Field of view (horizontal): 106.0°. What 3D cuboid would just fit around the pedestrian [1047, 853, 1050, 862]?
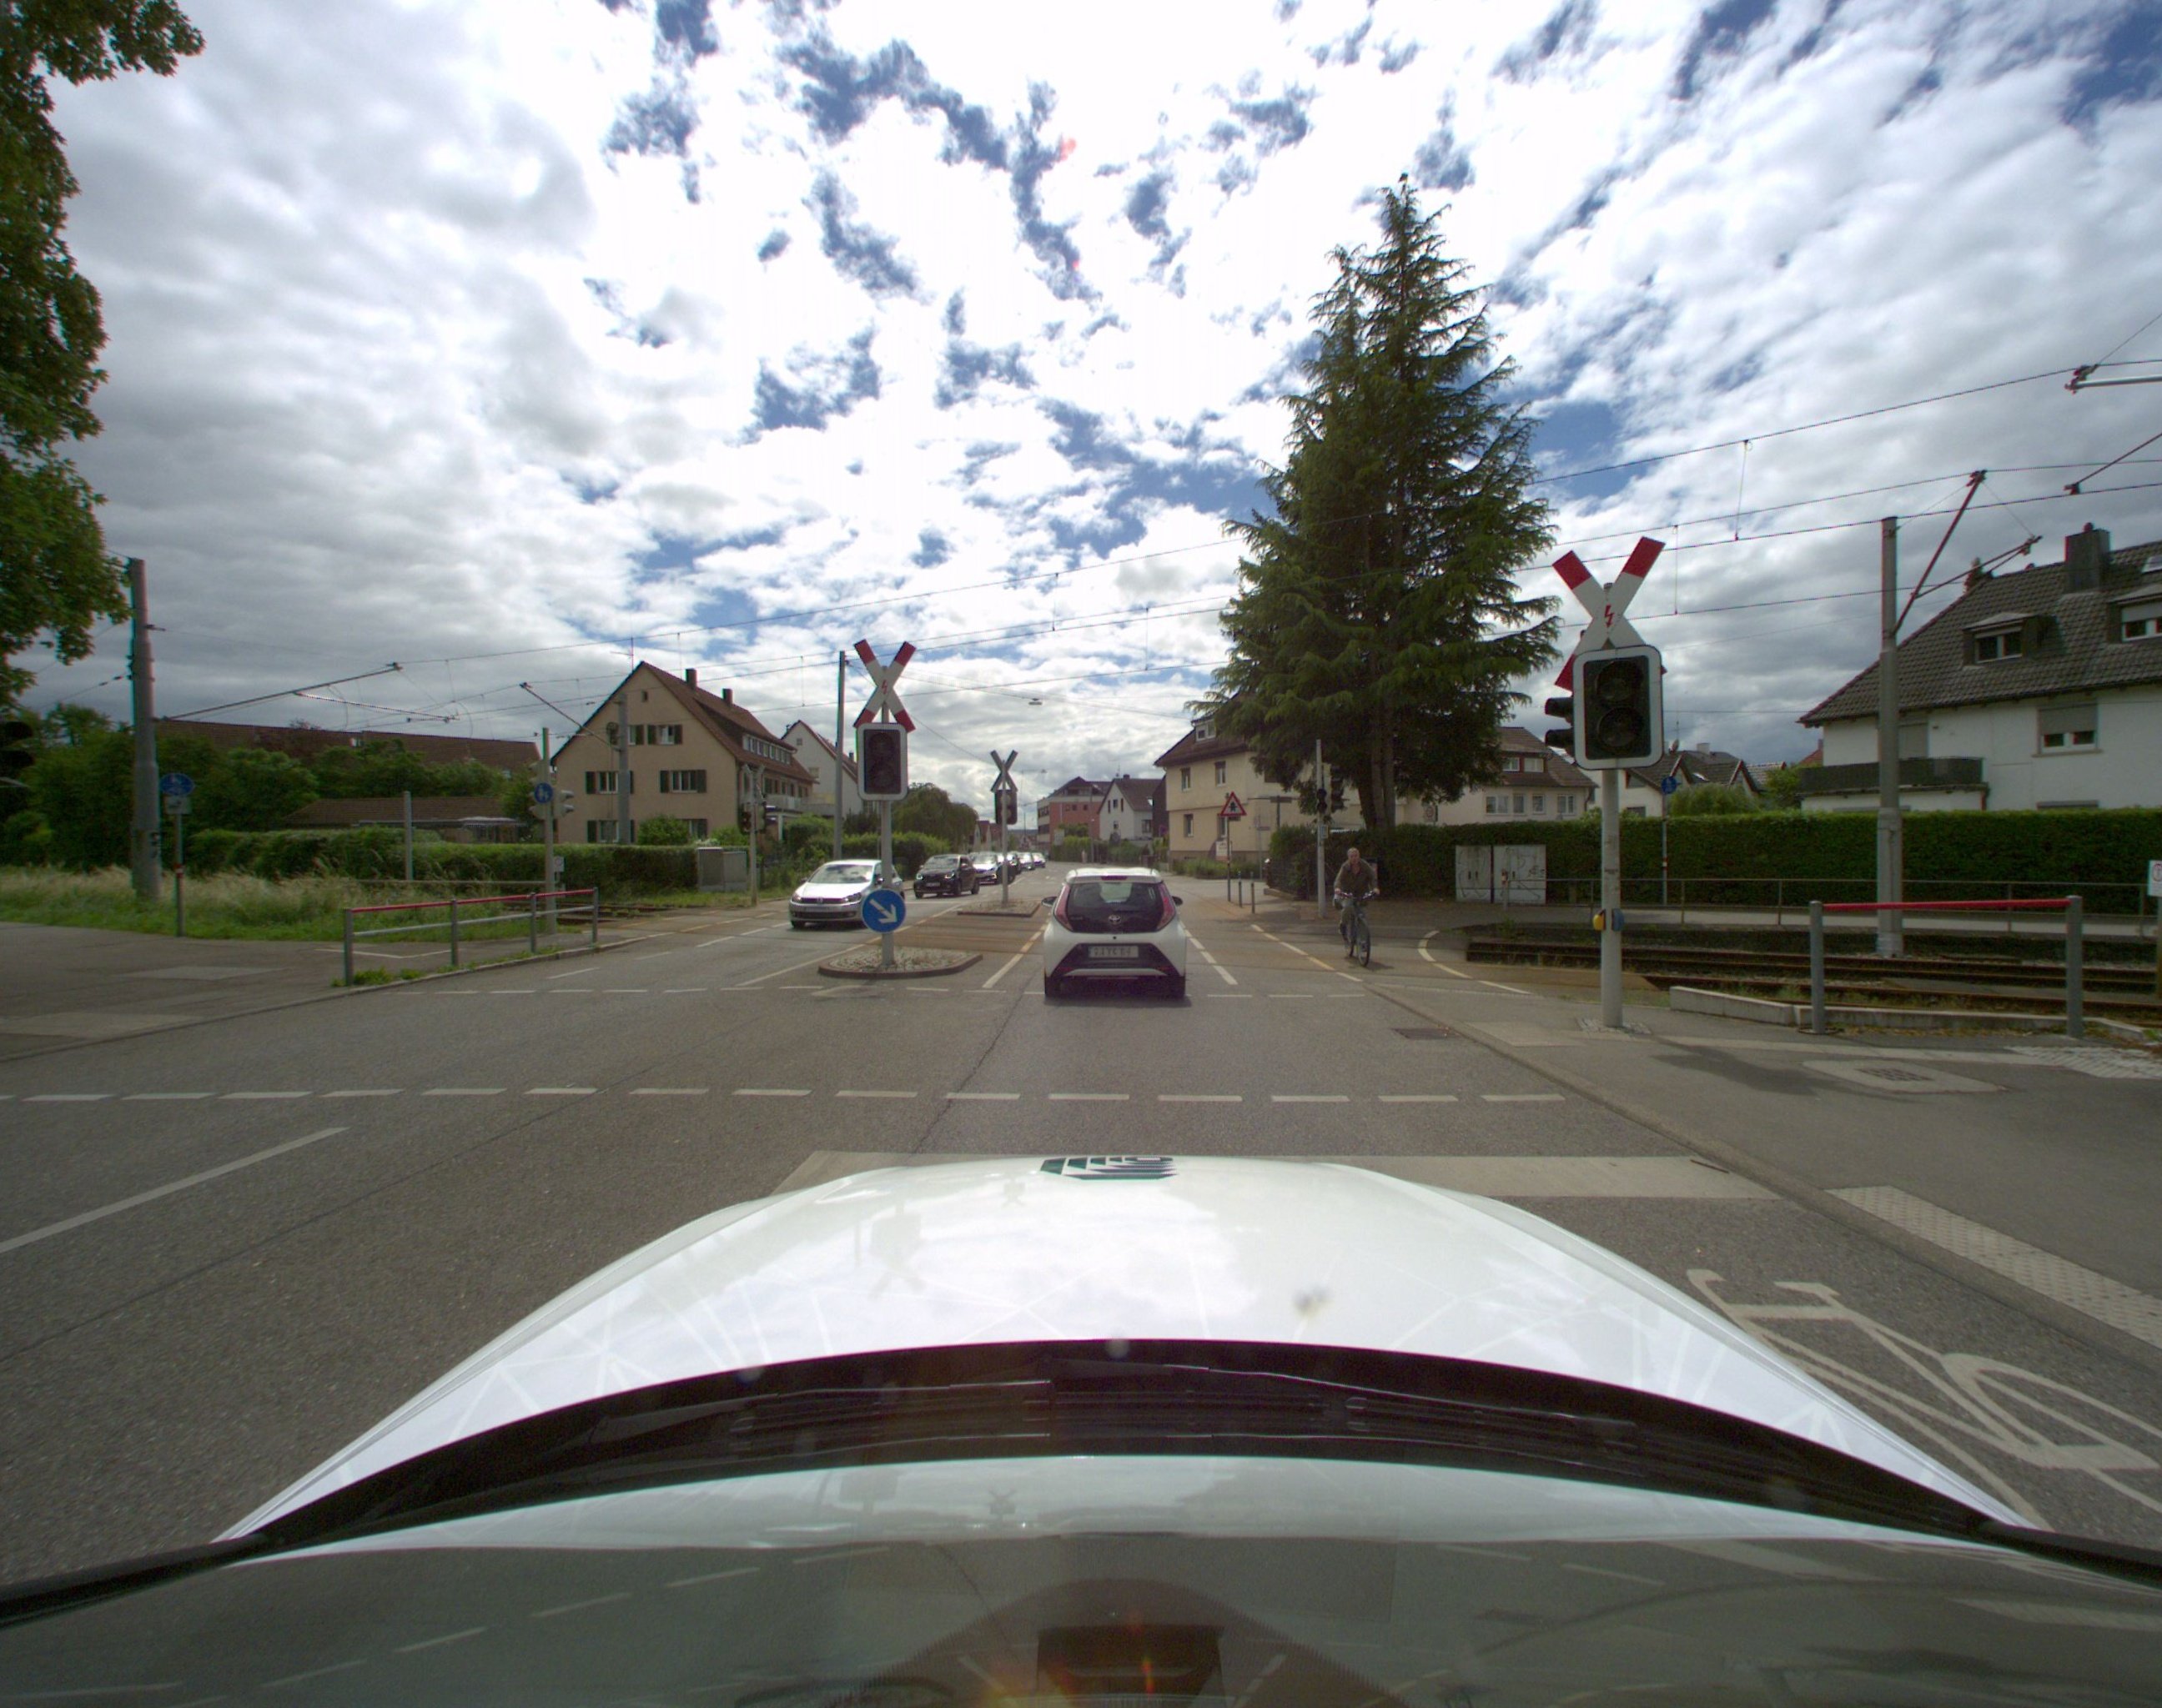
[{"bbox_3d":[-5.125,0.523,127.362,0.413,1.437,0.436,0,0,-8],"label":"pedestrian"}]

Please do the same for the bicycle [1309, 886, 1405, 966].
[{"bbox_3d":[4.140,1.049,12.397,0.928,1.040,1.917,0,0,4],"label":"bicycle"}]

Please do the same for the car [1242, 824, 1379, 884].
[{"bbox_3d":[10.617,-0.041,37.660,6.010,2.581,1.989,-1,1,-17],"label":"car"}]

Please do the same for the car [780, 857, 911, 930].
[{"bbox_3d":[-5.353,0.836,19.073,1.681,1.458,4.072,0,0,3],"label":"car"}]

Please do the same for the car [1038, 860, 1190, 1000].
[{"bbox_3d":[0.426,0.822,10.689,1.615,1.486,4.002,0,-1,2],"label":"car"}]

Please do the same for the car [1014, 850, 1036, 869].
[{"bbox_3d":[-4.838,0.474,69.622,1.772,1.561,4.162,0,0,-5],"label":"car"}]

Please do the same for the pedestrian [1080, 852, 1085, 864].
[{"bbox_3d":[0.162,0.428,97.569,0.439,1.437,0.410,0,0,-36],"label":"pedestrian"}]

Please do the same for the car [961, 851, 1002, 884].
[{"bbox_3d":[-5.071,0.654,41.783,1.771,1.603,4.034,0,0,-3],"label":"car"}]

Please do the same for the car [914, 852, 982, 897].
[{"bbox_3d":[-4.847,0.736,30.016,1.564,1.510,2.797,-1,1,11],"label":"car"}]

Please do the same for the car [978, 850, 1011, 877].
[{"bbox_3d":[-5.250,0.550,49.896,1.771,1.603,4.034,0,0,-3],"label":"car"}]

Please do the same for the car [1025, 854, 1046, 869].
[{"bbox_3d":[-4.489,0.706,80.309,1.773,1.430,4.511,0,0,-7],"label":"car"}]

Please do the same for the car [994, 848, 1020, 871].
[{"bbox_3d":[-5.292,0.399,58.684,1.771,1.603,4.164,0,0,-3],"label":"car"}]

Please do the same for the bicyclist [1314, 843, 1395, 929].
[{"bbox_3d":[4.142,0.460,12.427,0.928,1.247,1.103,0,0,4],"label":"bicyclist"}]
